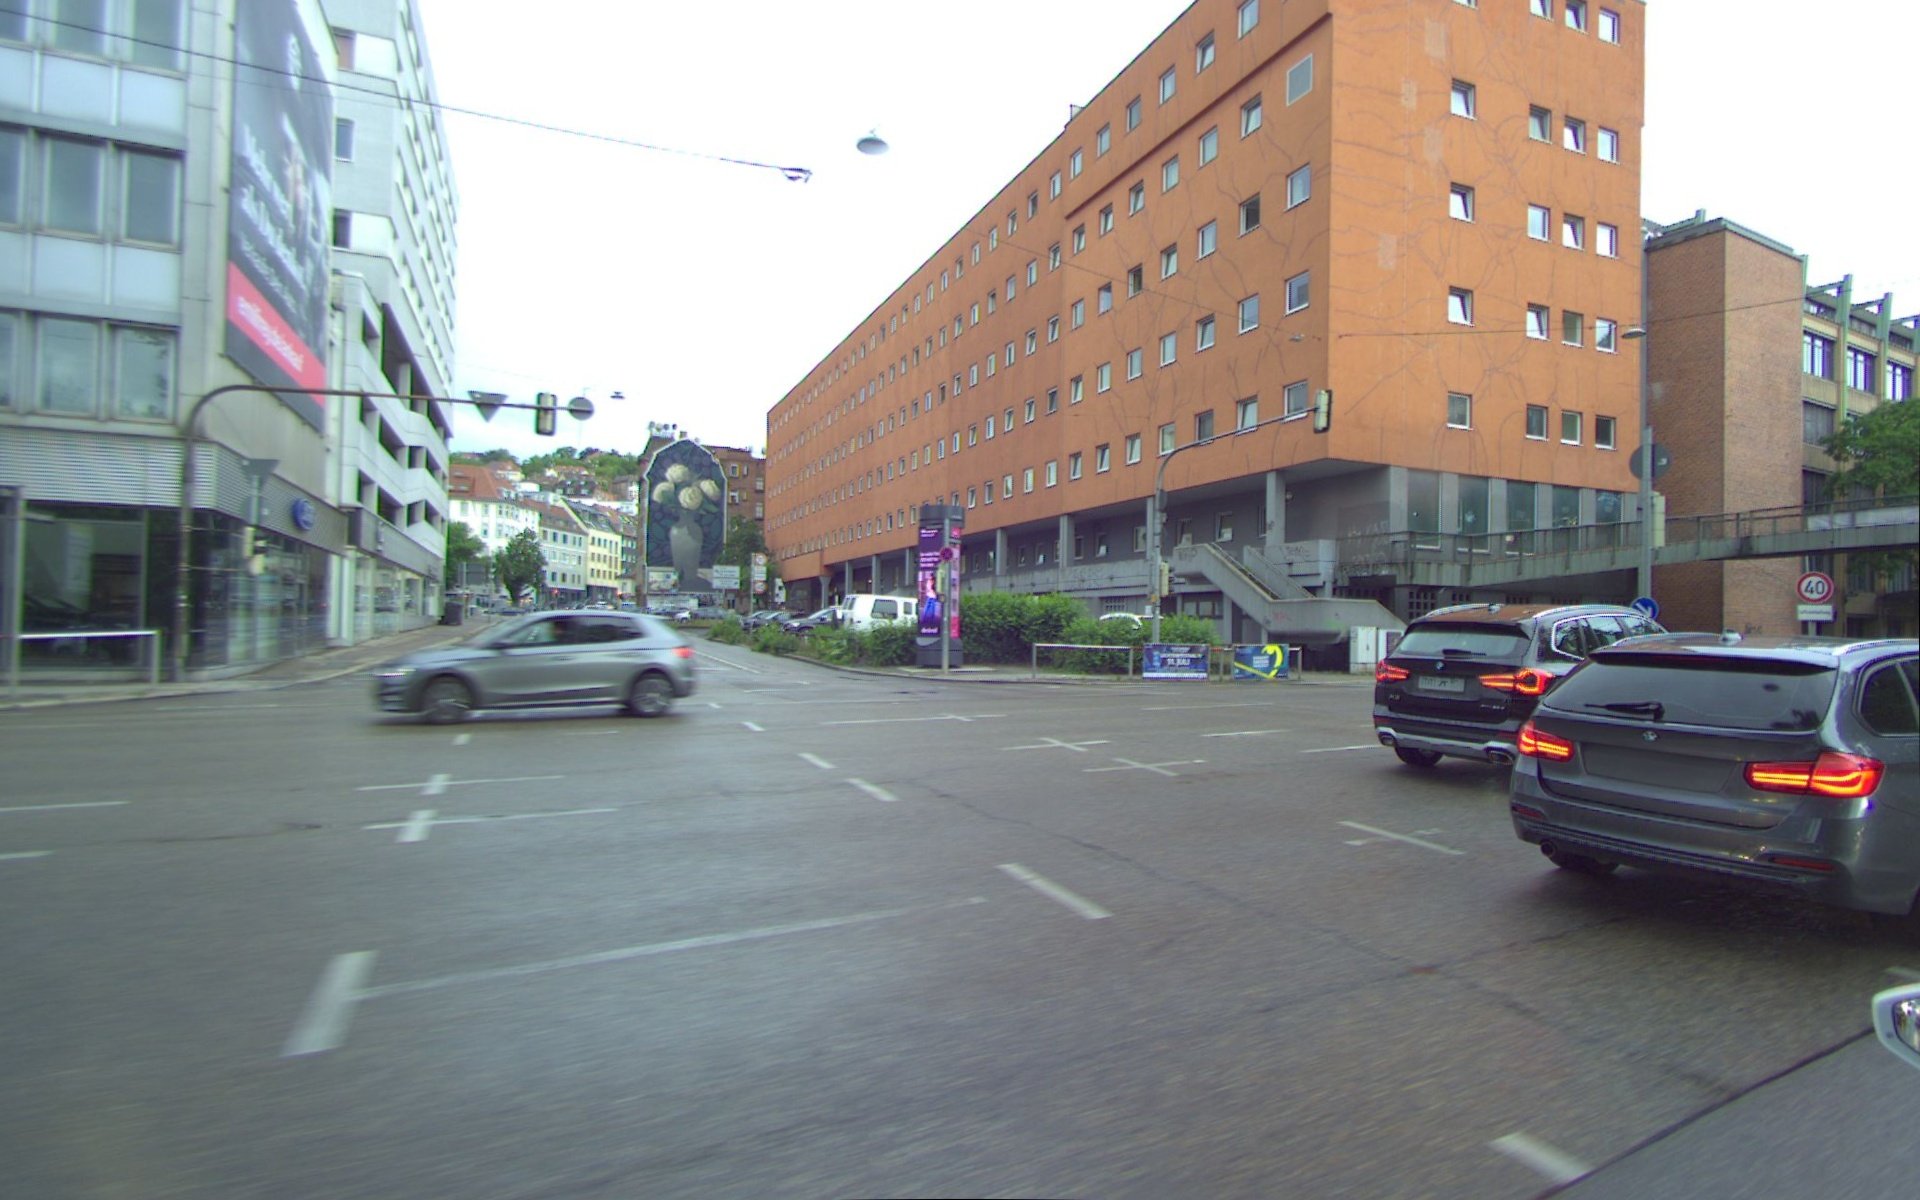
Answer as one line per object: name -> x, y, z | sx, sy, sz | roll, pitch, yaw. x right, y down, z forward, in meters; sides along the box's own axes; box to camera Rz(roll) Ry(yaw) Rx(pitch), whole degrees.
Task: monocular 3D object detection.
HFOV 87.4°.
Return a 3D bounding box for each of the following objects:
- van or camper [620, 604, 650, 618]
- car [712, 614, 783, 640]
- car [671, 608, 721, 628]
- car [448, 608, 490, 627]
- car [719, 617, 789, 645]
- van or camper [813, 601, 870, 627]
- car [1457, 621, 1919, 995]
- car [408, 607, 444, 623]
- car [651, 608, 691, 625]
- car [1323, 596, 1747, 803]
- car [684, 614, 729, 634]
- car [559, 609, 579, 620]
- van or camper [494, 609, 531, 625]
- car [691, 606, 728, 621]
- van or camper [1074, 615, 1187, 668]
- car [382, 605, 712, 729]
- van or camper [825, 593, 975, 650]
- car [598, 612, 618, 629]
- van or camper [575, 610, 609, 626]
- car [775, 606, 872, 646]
van or camper -> -52.437, 1.763, 162.154 | 4.556, 2.040, 1.990 | 2, 1, -21
car -> -11.921, 1.526, 56.456 | 3.816, 1.311, 1.656 | 2, -1, -13
car -> -22.248, 1.501, 84.612 | 3.921, 1.459, 1.767 | 2, 1, -23
car -> -49.061, 1.772, 100.343 | 3.684, 1.885, 1.828 | 1, -1, -31
car -> -10.530, 1.594, 51.361 | 3.460, 1.311, 1.531 | 2, -1, -13
van or camper -> -9.923, 1.146, 83.929 | 4.315, 2.004, 1.962 | 2, 1, -24
car -> 5.098, 0.898, 5.889 | 4.424, 1.477, 1.768 | 2, -1, -30
car -> -69.274, 1.940, 130.378 | 3.892, 1.960, 1.938 | 2, 1, -26
car -> -30.490, 1.759, 105.861 | 3.919, 1.583, 1.768 | 2, 1, -21
car -> 5.903, 0.876, 10.181 | 4.394, 1.678, 1.800 | 2, 0, -31
car -> -18.852, 1.781, 74.706 | 3.121, 1.372, 1.396 | 2, 1, -16
car -> -68.683, 2.536, 176.510 | 1.859, 1.808, 3.572 | 1, -1, 2
van or camper -> -63.460, 2.428, 142.430 | 4.556, 2.040, 2.115 | 2, 1, -21
car -> -28.758, 1.523, 115.345 | 3.919, 1.583, 1.768 | 2, 1, -21
van or camper -> 5.709, 1.348, 34.042 | 1.888, 1.649, 3.976 | 1, -1, -25
car -> -5.615, 0.845, 13.790 | 3.994, 1.484, 1.700 | 1, -1, -31
van or camper -> -2.335, 0.836, 39.006 | 5.379, 2.004, 2.119 | 2, 1, -25
car -> -40.723, 2.373, 116.171 | 1.881, 1.788, 3.770 | 2, 0, -23
van or camper -> -50.756, 2.447, 138.529 | 4.379, 2.040, 1.988 | 2, 1, -21
car -> -6.195, 1.186, 45.568 | 4.030, 1.633, 1.705 | 2, 1, -24
